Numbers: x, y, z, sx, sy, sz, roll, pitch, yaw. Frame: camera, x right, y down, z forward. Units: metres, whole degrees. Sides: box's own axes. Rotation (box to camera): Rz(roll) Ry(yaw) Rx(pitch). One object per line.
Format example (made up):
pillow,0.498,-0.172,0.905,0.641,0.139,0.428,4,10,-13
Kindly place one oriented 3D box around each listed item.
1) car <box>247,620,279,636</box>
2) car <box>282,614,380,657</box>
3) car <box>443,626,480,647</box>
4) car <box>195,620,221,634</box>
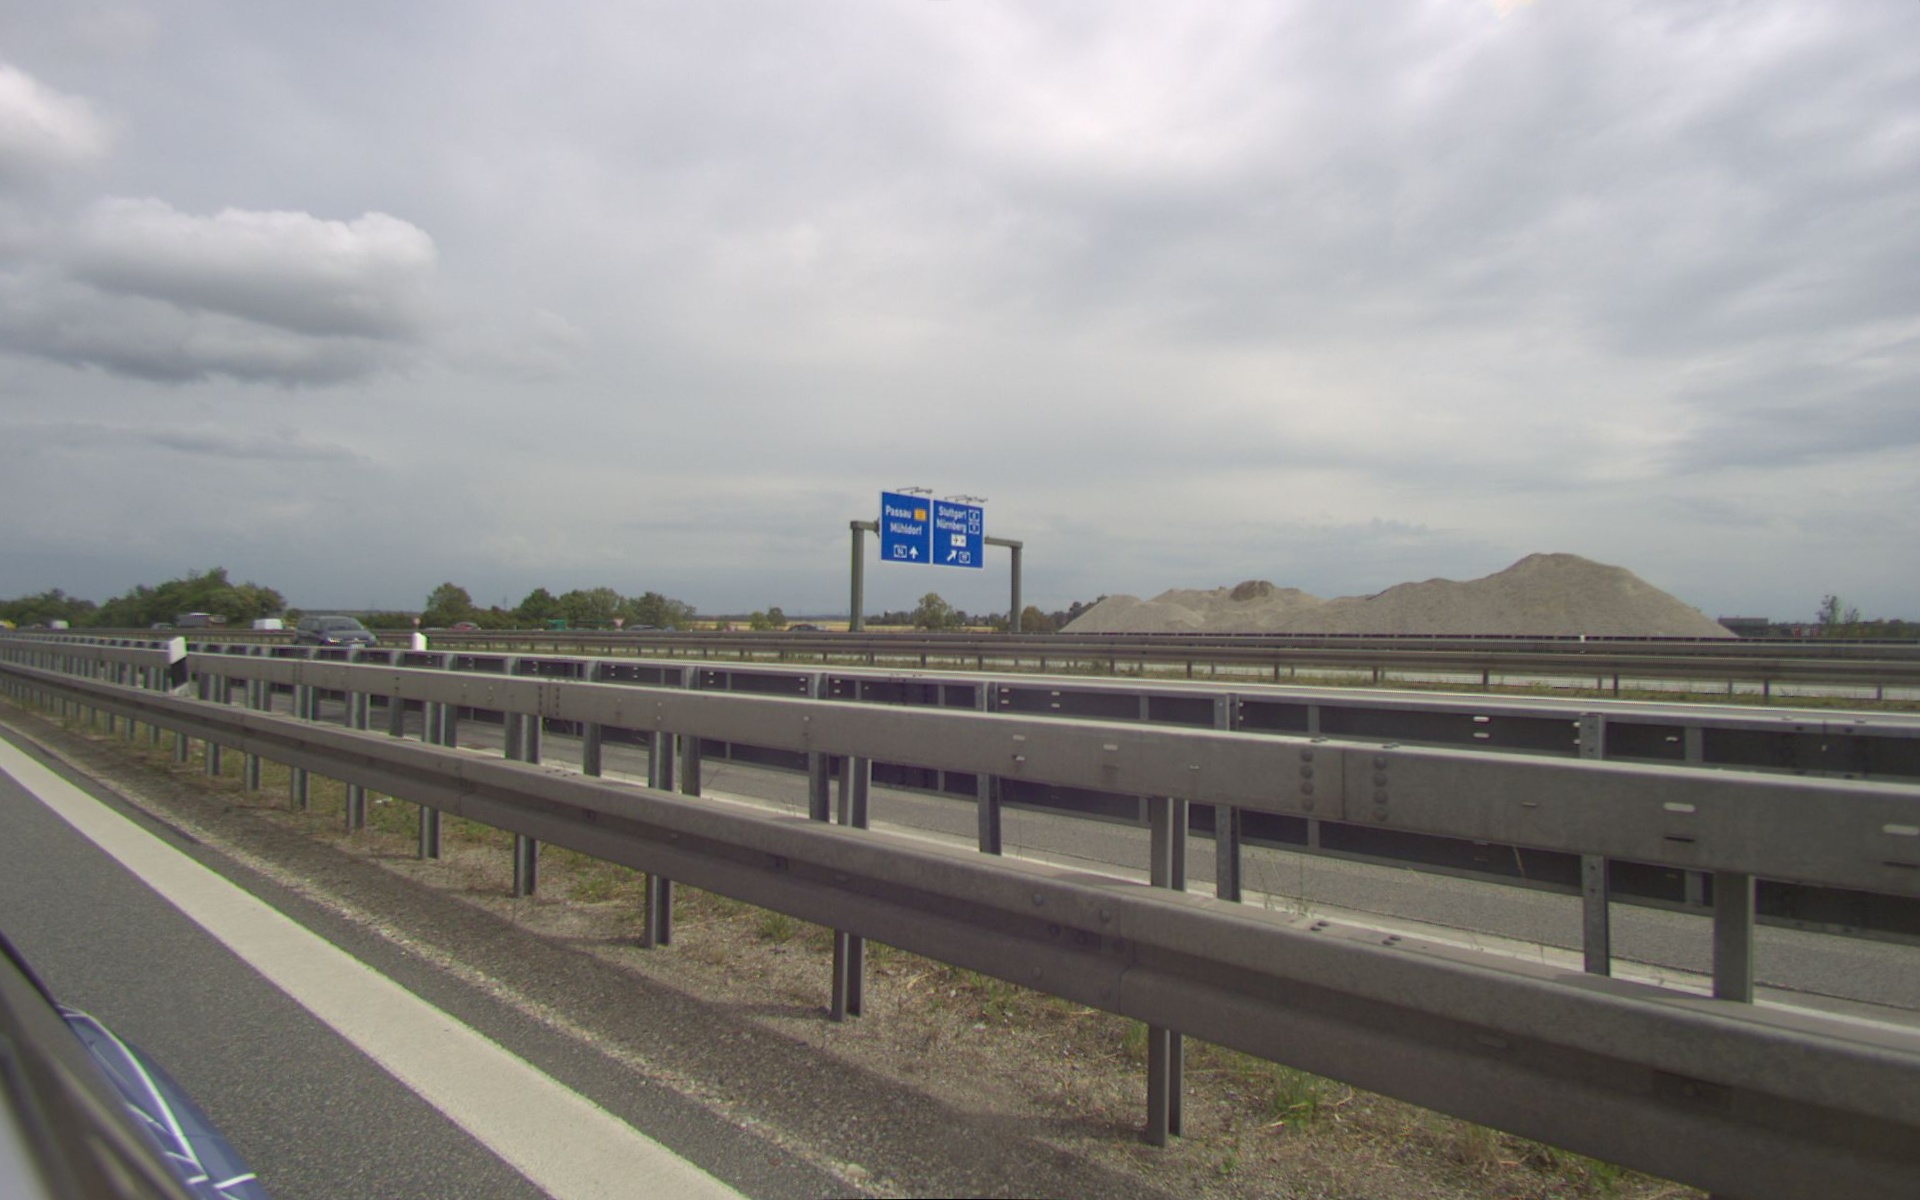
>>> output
car,-87.454,3.473,126.998,4.745,1.874,2.080,-1,0,39
car,-24.497,1.354,39.351,4.611,1.558,1.862,-1,0,40
car,-47.798,3.471,96.973,3.999,1.874,1.779,-1,0,42
car,-104.429,3.745,140.473,3.992,1.874,1.809,-1,0,37
